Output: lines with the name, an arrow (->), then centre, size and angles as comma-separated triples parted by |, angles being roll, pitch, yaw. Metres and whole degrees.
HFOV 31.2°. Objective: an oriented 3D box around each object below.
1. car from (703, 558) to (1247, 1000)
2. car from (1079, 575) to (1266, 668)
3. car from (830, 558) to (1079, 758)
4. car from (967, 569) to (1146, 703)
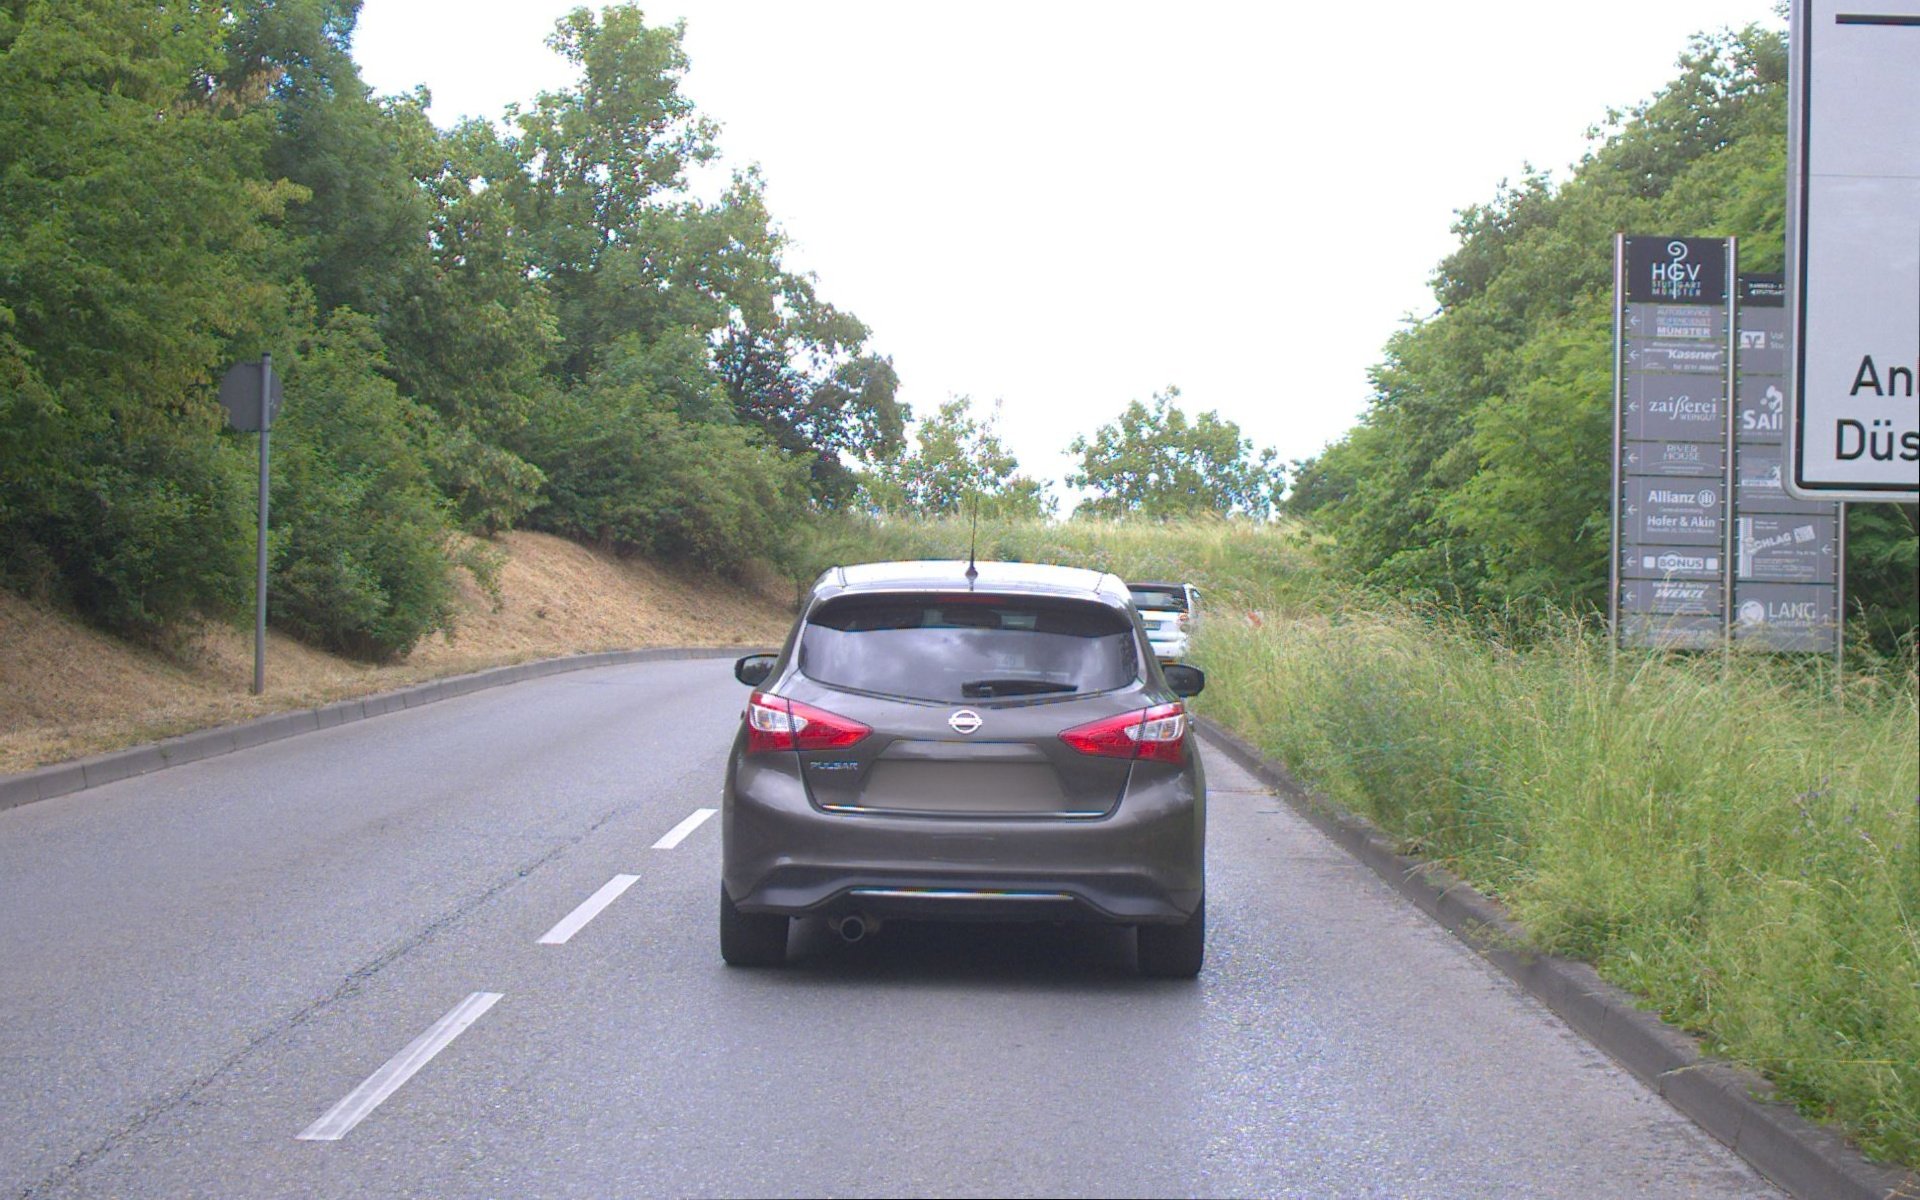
car -> -0.017, 0.598, 13.841 | 1.844, 1.488, 4.000 | 1, 1, -2
car -> 3.444, 0.315, 55.142 | 1.800, 1.393, 3.995 | 1, 1, 22
car -> -0.119, 0.413, 27.975 | 1.844, 1.488, 4.228 | 0, 1, -2
car -> 1.187, 0.393, 40.834 | 1.721, 1.489, 3.576 | 1, 1, 8
